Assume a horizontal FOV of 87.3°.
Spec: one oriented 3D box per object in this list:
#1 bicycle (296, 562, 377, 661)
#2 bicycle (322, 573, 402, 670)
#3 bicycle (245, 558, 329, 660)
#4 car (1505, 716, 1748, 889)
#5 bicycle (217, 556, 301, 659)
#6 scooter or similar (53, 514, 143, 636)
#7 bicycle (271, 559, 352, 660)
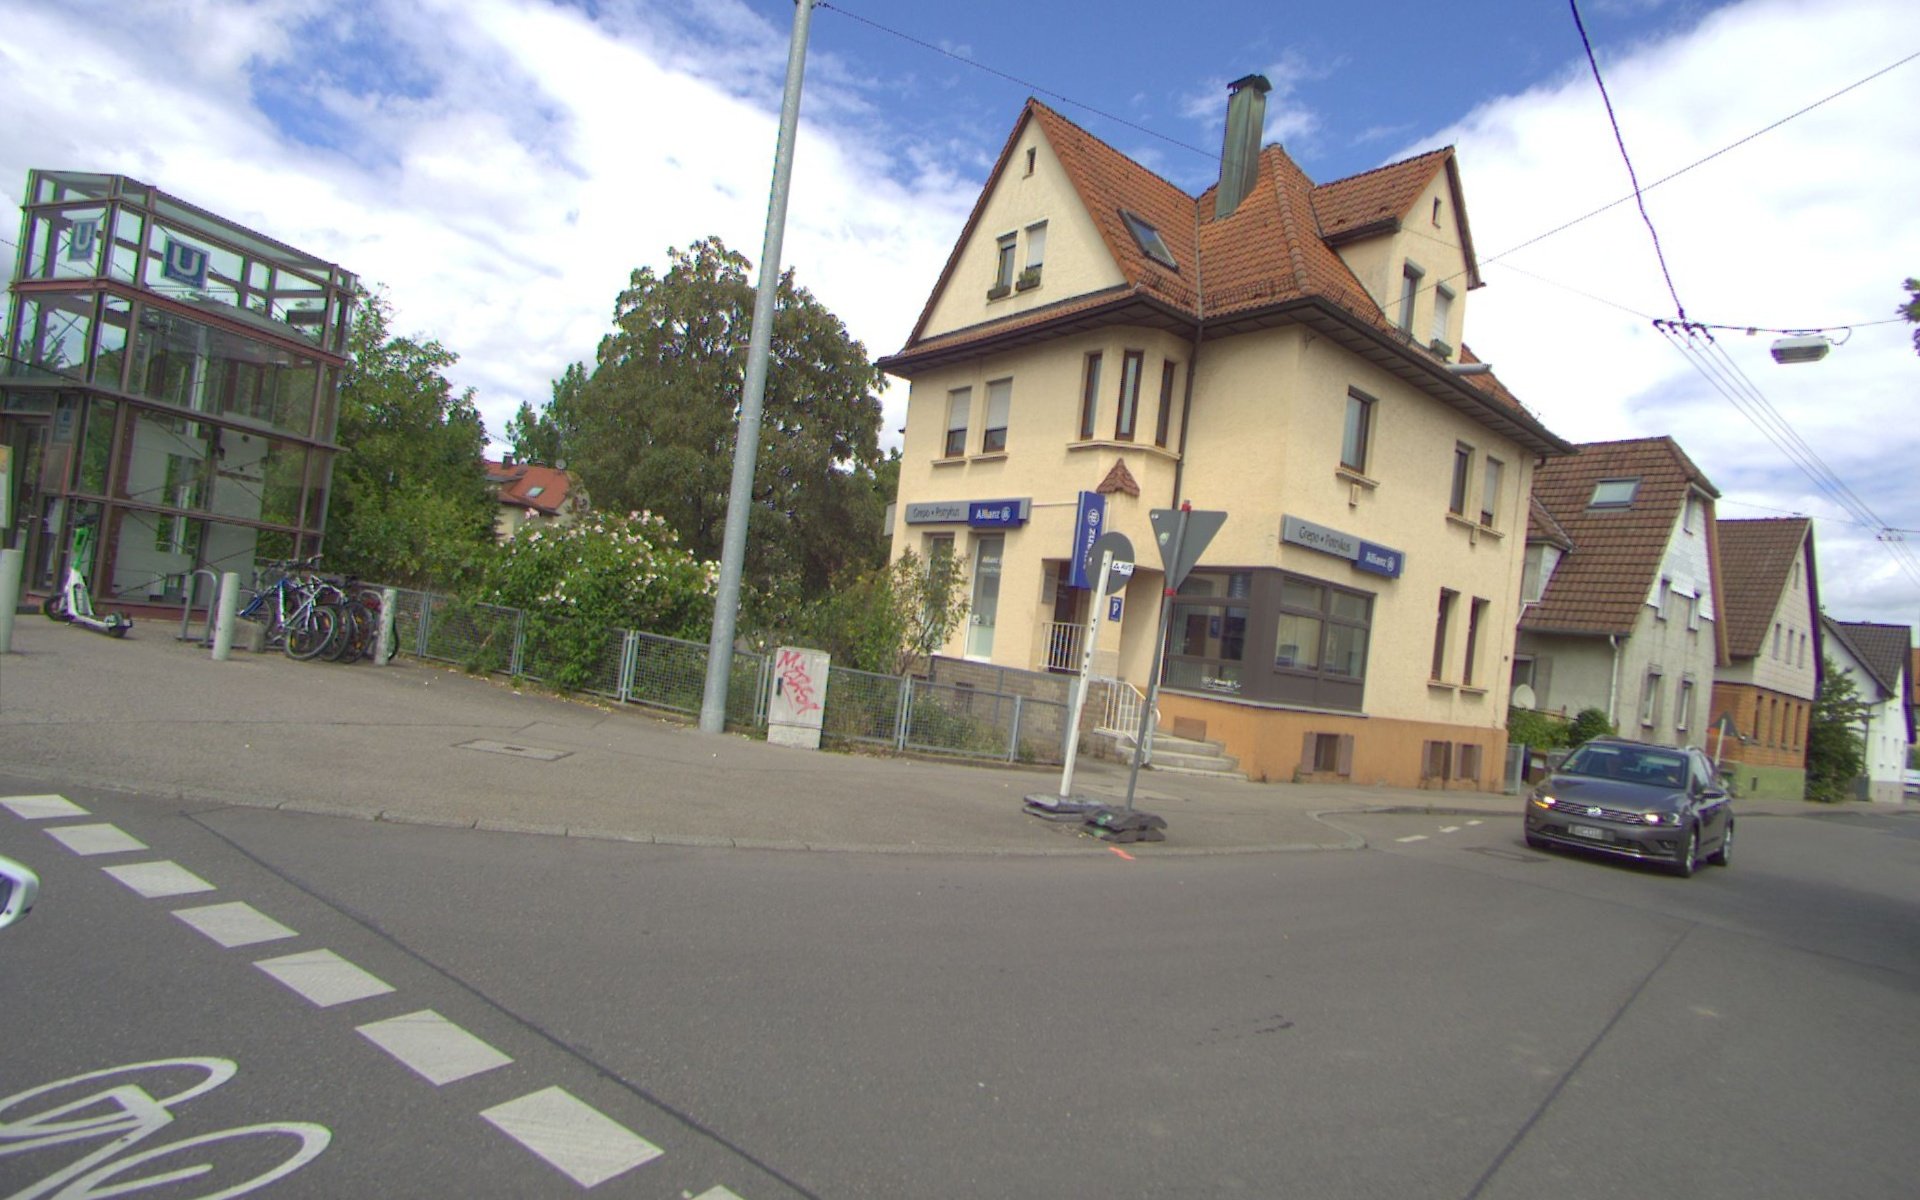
[{"bbox_3d":[-7.262,0.122,11.702,1.170,1.021,0.216,7,0,32],"label":"bicycle"},{"bbox_3d":[-7.116,0.242,11.954,1.170,1.021,0.216,7,0,32],"label":"bicycle"},{"bbox_3d":[-7.529,0.091,11.242,1.187,1.013,0.216,7,0,32],"label":"bicycle"},{"bbox_3d":[8.878,2.598,13.253,1.845,1.643,3.982,7,-3,44],"label":"car"},{"bbox_3d":[-7.679,0.072,11.004,1.184,1.001,0.216,7,0,32],"label":"bicycle"},{"bbox_3d":[-9.041,-0.269,10.547,0.929,1.125,0.216,10,2,23],"label":"scooter or similar"},{"bbox_3d":[-7.412,0.096,11.482,1.150,1.026,0.216,7,0,32],"label":"bicycle"}]
